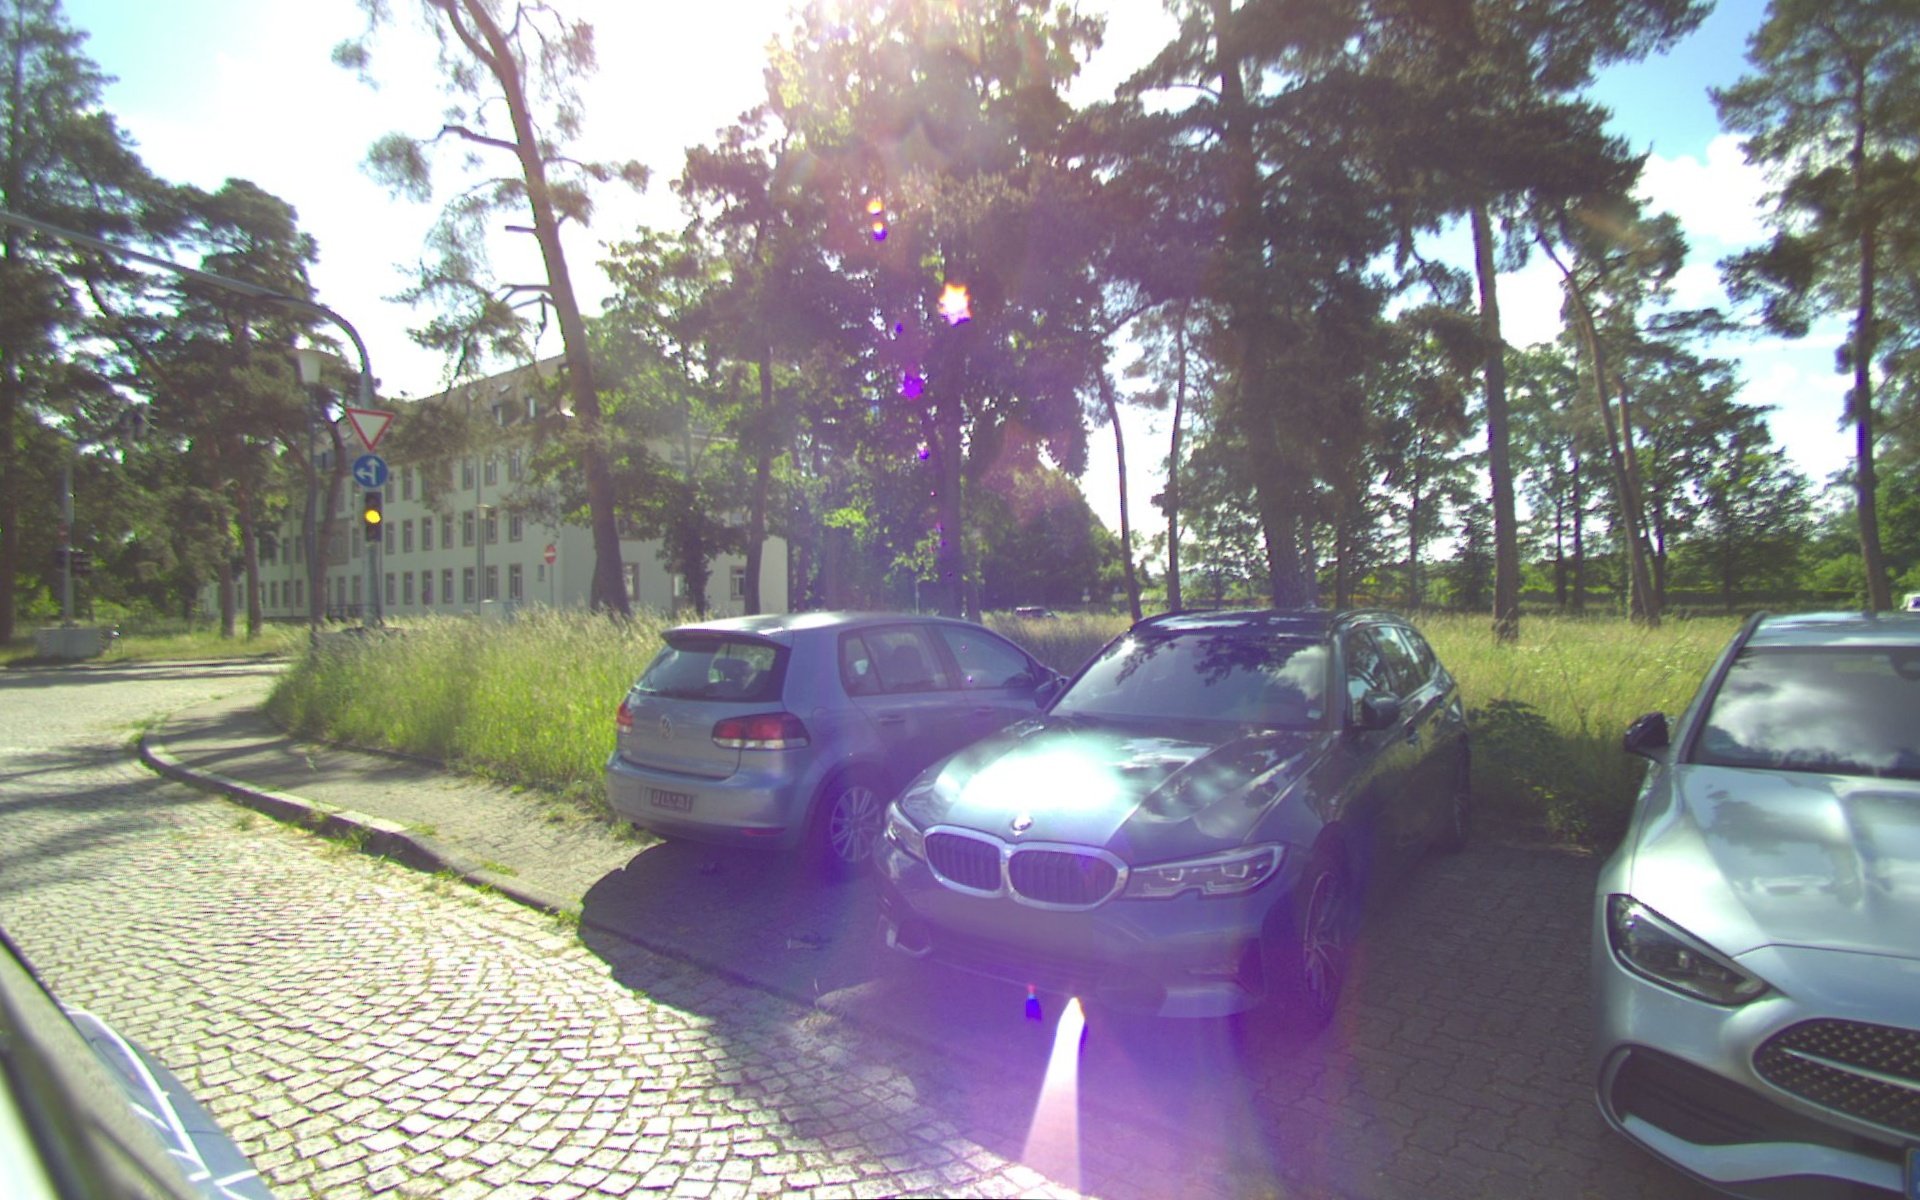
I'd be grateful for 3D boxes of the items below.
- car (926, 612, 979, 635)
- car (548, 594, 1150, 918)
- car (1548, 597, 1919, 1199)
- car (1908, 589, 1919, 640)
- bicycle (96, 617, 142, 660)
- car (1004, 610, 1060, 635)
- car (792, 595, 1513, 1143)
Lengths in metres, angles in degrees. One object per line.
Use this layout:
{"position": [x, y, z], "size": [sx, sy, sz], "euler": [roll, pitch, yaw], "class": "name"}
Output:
{"position": [-0.525, 1.715, 74.620], "size": [1.719, 1.593, 4.053], "euler": [-1, -1, 40], "class": "car"}
{"position": [-0.474, 0.760, 7.034], "size": [1.946, 1.494, 3.989], "euler": [-2, 0, 37], "class": "car"}
{"position": [3.642, 0.747, 3.638], "size": [1.936, 1.431, 4.817], "euler": [0, 1, 39], "class": "car"}
{"position": [43.742, 0.648, 45.011], "size": [1.955, 2.180, 4.797], "euler": [-1, -1, 40], "class": "car"}
{"position": [-26.734, 1.198, 32.151], "size": [2.111, 1.293, 0.614], "euler": [-1, 2, 38], "class": "bicycle"}
{"position": [4.969, 1.560, 69.347], "size": [1.839, 1.642, 4.004], "euler": [-1, -2, 41], "class": "car"}
{"position": [1.454, 0.746, 5.252], "size": [1.980, 1.463, 4.541], "euler": [0, 1, 35], "class": "car"}
